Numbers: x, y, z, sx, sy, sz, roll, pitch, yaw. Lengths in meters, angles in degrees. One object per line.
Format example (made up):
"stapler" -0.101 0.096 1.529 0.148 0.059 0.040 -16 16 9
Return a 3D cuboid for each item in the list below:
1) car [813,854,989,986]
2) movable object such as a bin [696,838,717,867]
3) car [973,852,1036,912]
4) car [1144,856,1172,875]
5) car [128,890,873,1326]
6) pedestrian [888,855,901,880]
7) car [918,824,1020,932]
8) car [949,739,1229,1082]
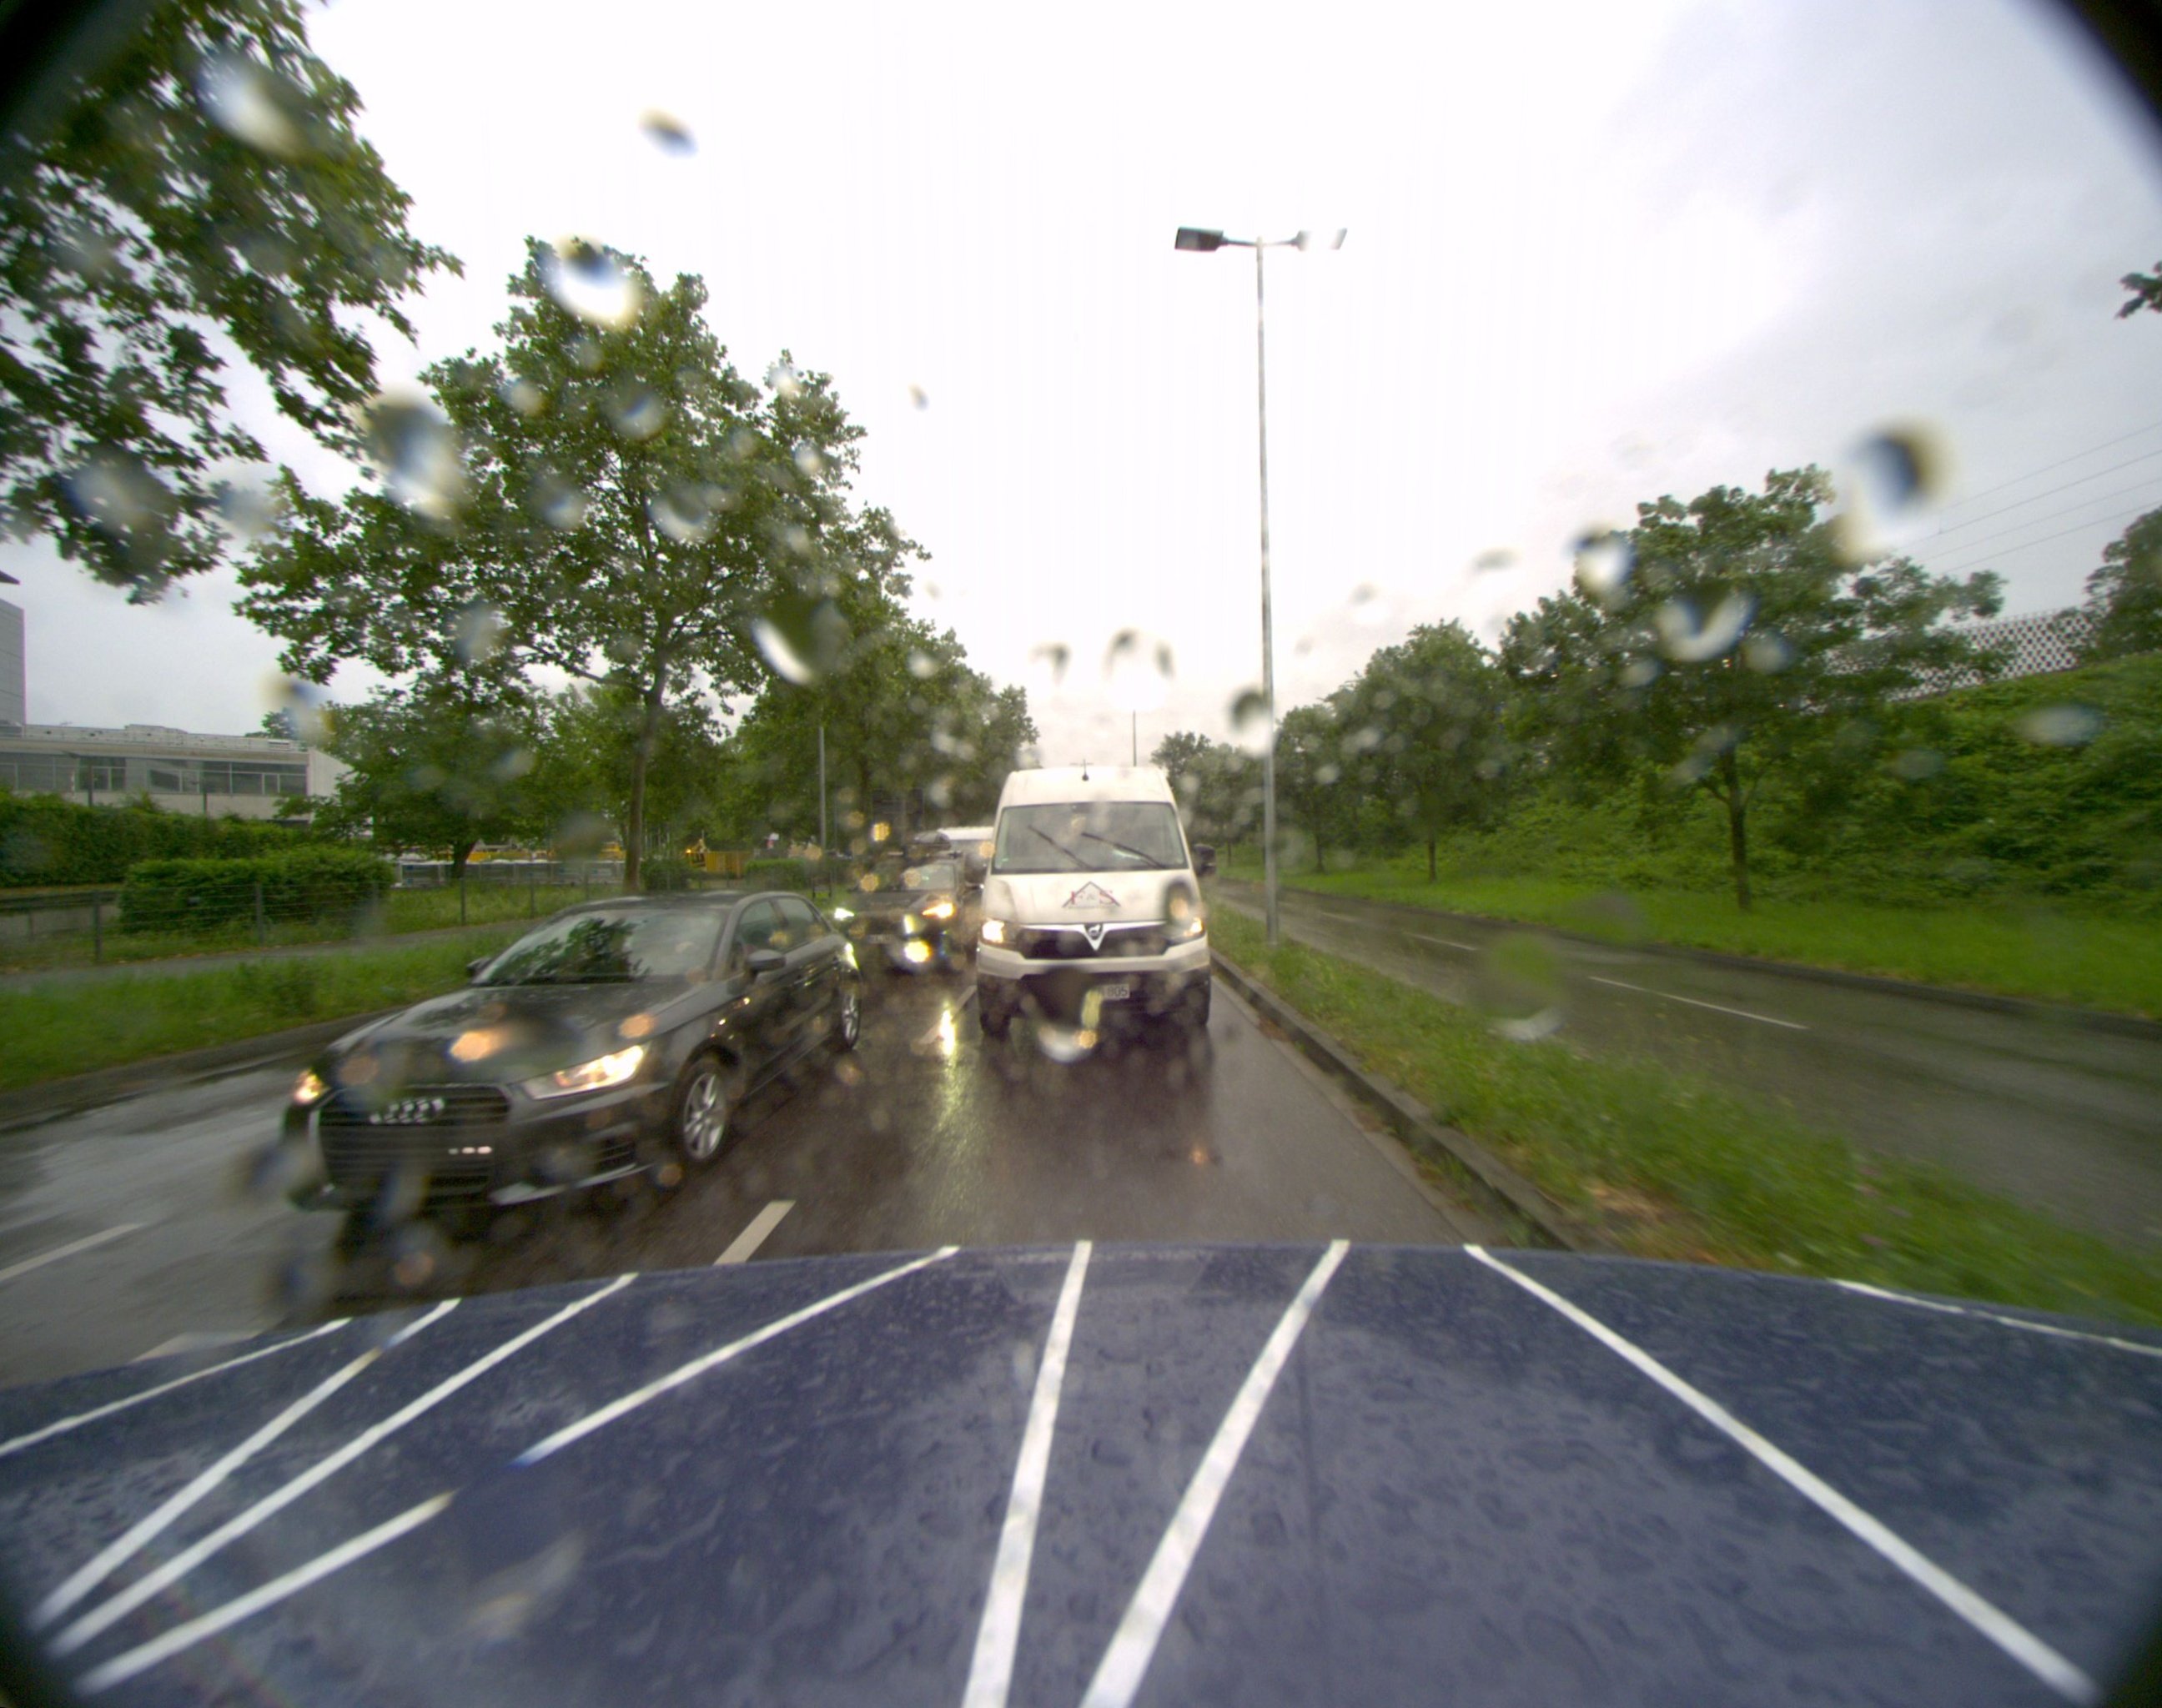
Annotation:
"car" -2.639 0.875 12.264 1.894 1.688 4.422 -1 0 -2
"movable object such as a bin" -45.800 -0.197 92.792 1.921 3.415 4.927 -3 1 -29
"car" -2.618 0.908 26.914 1.807 1.902 4.546 -1 0 -1
"car" 6.266 0.914 62.261 1.820 1.454 4.000 1 0 0
"car" -2.699 1.049 4.748 1.680 1.419 3.781 -2 0 1
"pedestrian" -13.100 0.936 53.318 0.646 1.707 0.656 -2 1 2
"car" -2.781 0.539 20.081 1.894 2.432 5.317 -1 0 -1
"car" 0.022 0.410 8.475 2.027 2.498 5.695 -1 0 -1
